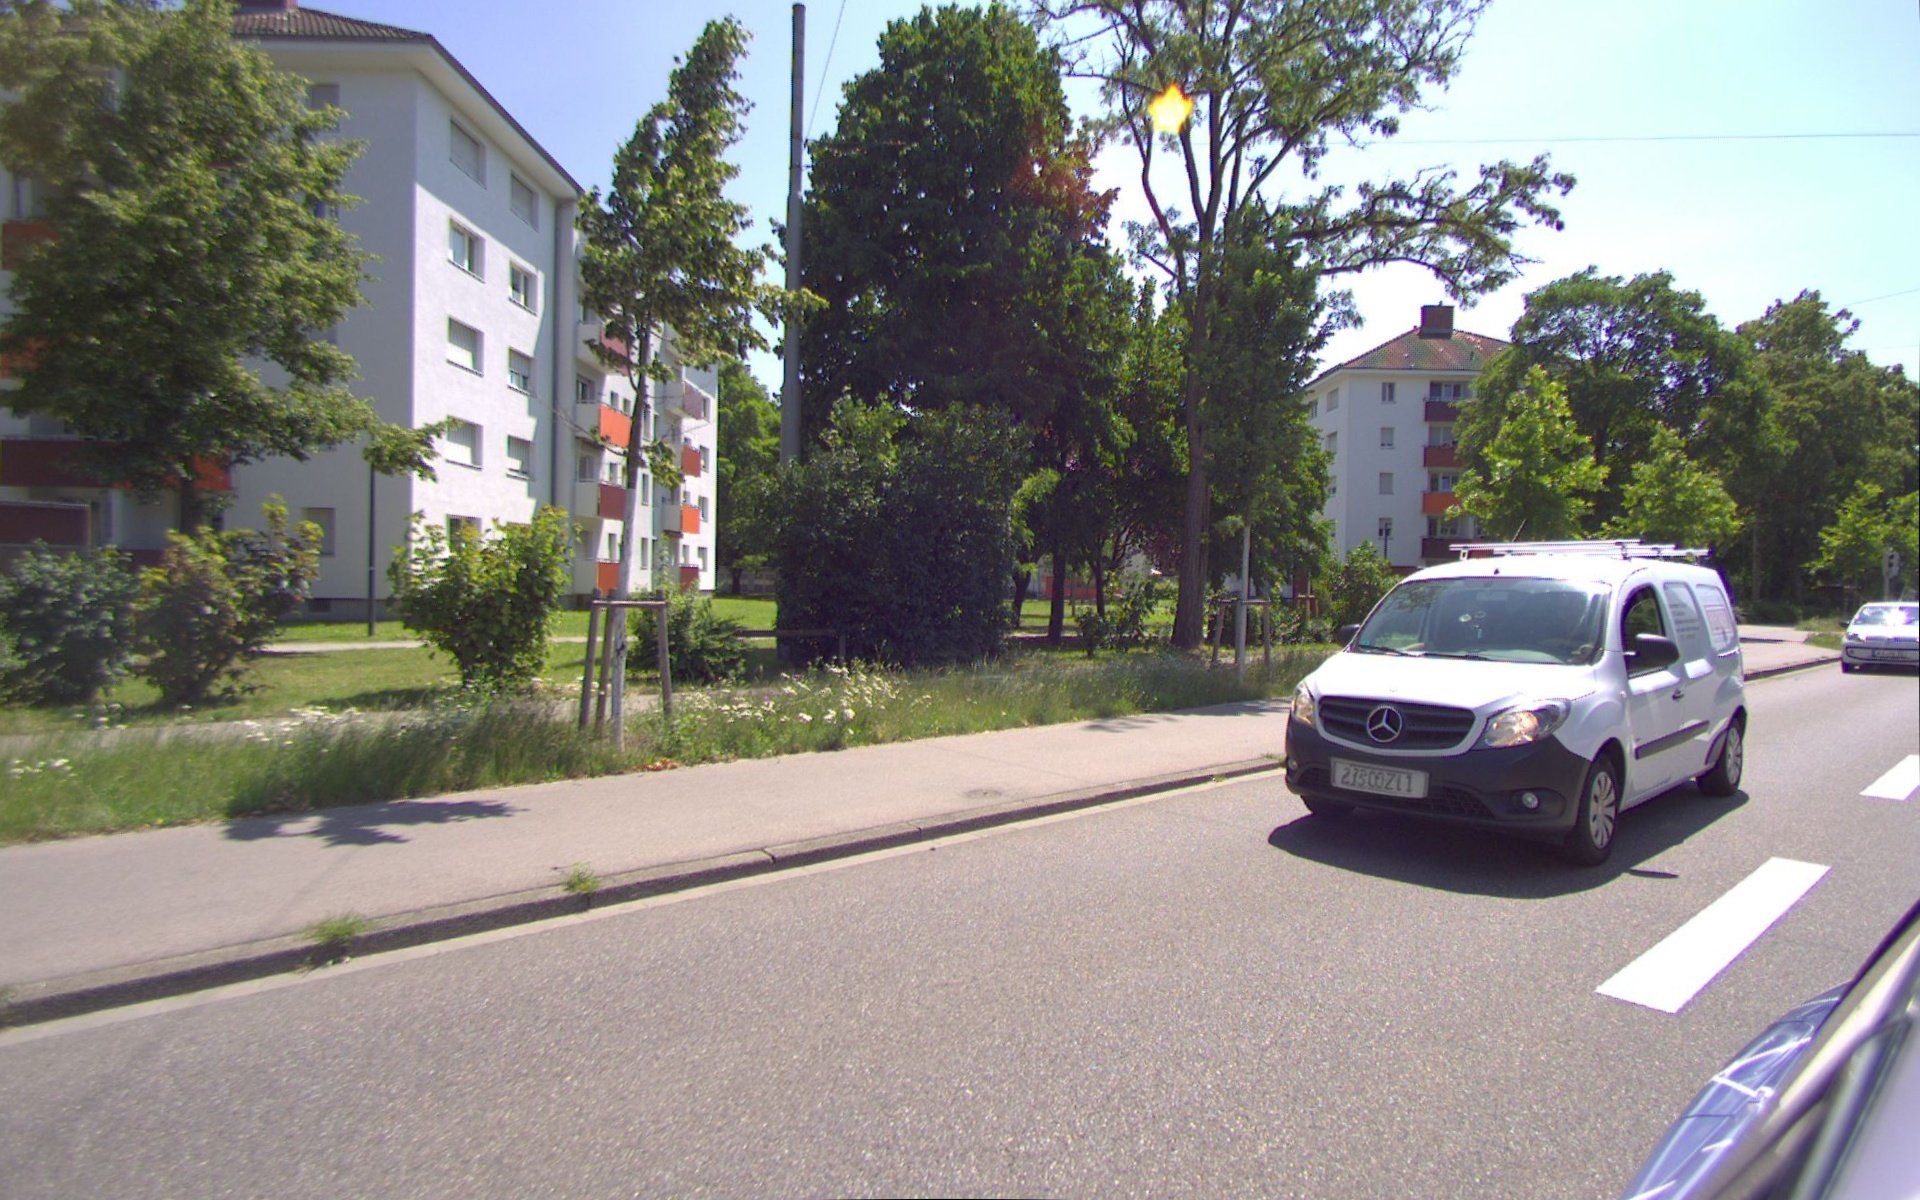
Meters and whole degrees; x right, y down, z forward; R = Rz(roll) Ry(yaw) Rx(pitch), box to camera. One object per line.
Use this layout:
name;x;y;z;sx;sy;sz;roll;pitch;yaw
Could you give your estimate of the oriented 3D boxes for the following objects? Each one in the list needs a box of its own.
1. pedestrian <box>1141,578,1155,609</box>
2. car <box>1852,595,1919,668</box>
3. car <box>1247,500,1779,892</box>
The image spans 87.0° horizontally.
pedestrian;11.886;-0.401;63.932;0.742;1.943;0.888;0;-1;3
car;20.297;0.634;21.513;3.438;1.459;1.624;0;0;-42
car;4.203;0.457;7.211;4.995;1.879;1.807;0;0;-42
